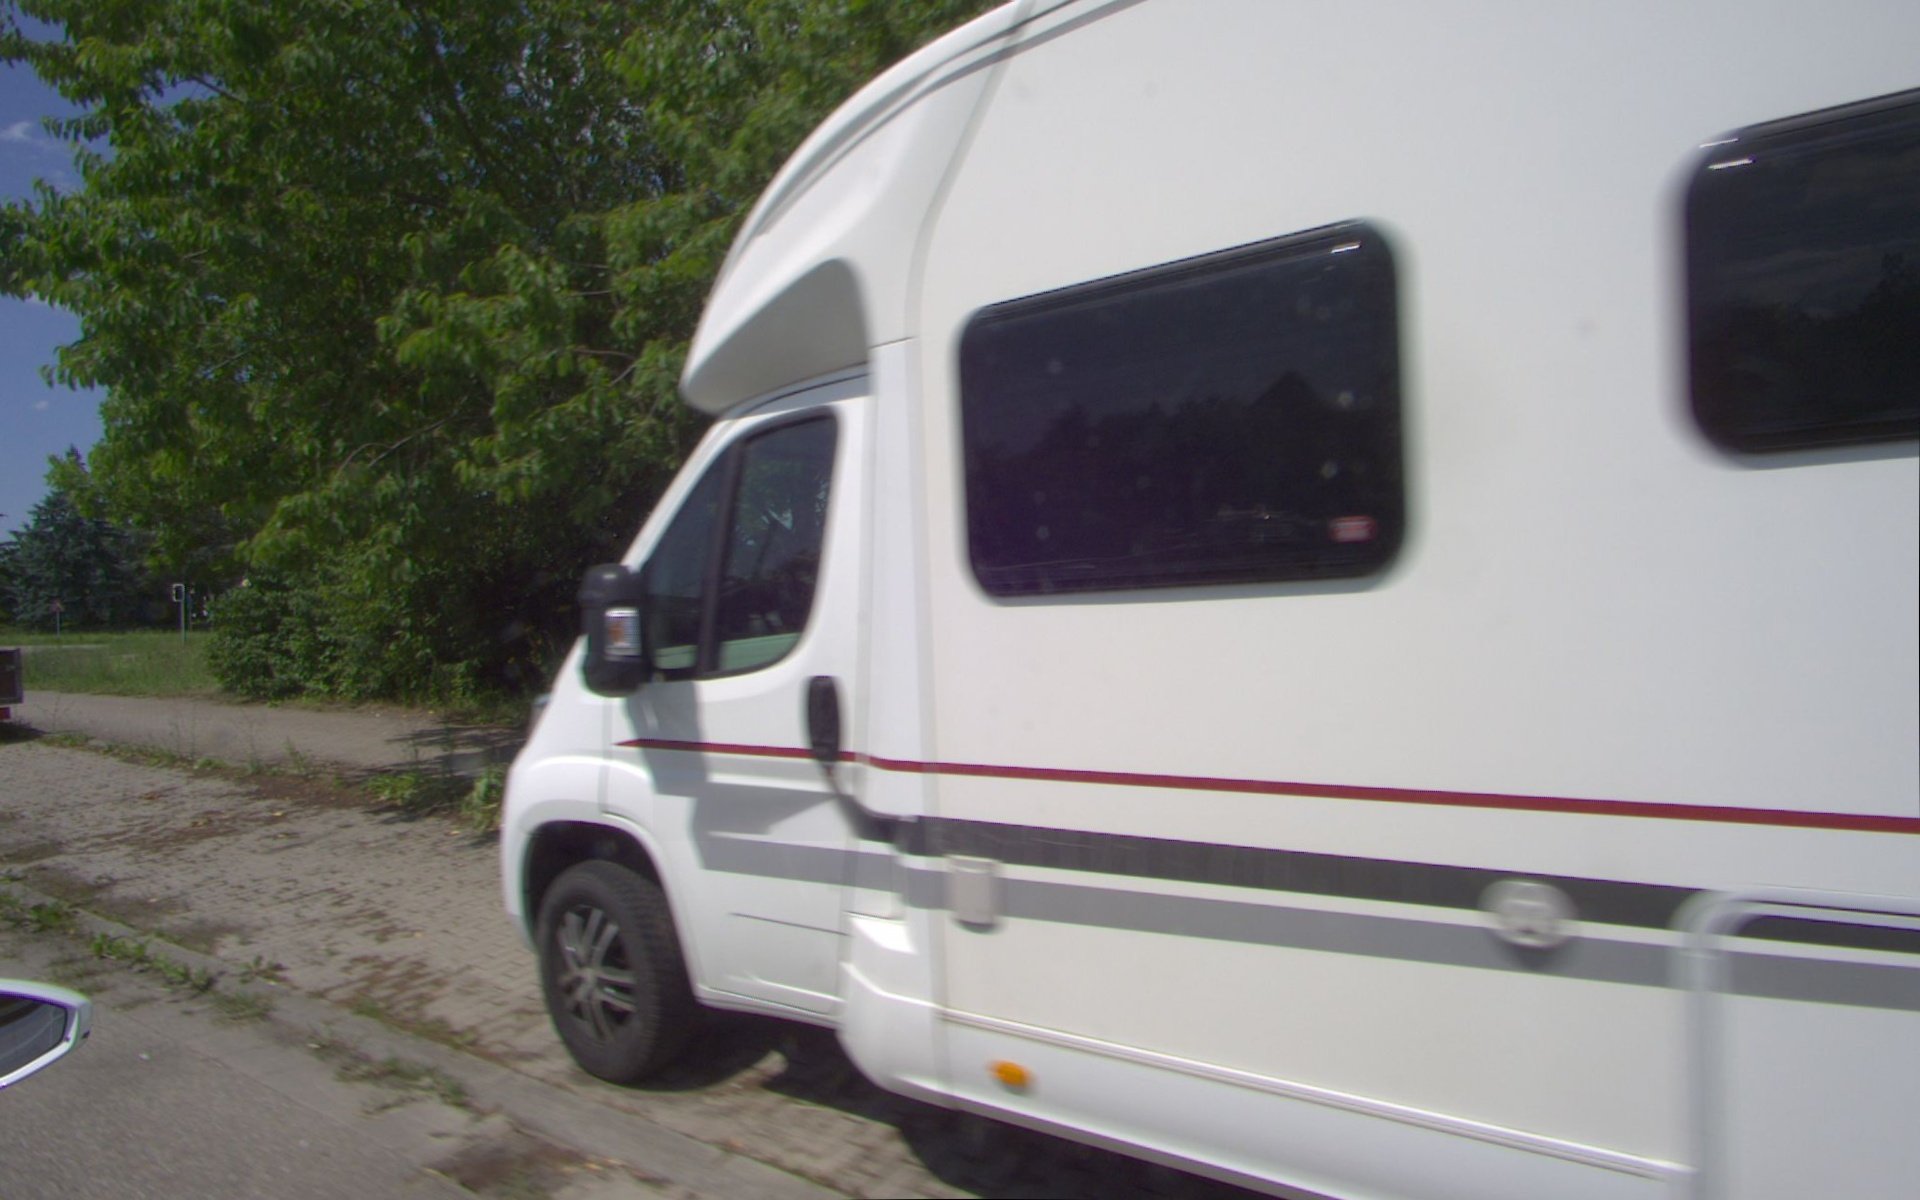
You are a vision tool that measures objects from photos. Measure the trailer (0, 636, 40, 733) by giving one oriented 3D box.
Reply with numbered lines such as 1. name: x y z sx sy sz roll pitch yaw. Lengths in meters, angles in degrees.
1. trailer: -13.628 1.101 12.673 4.429 1.138 1.997 -2 2 35

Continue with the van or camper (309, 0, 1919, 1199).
1. van or camper: 1.504 -0.045 2.632 7.515 2.865 2.433 -1 1 33
